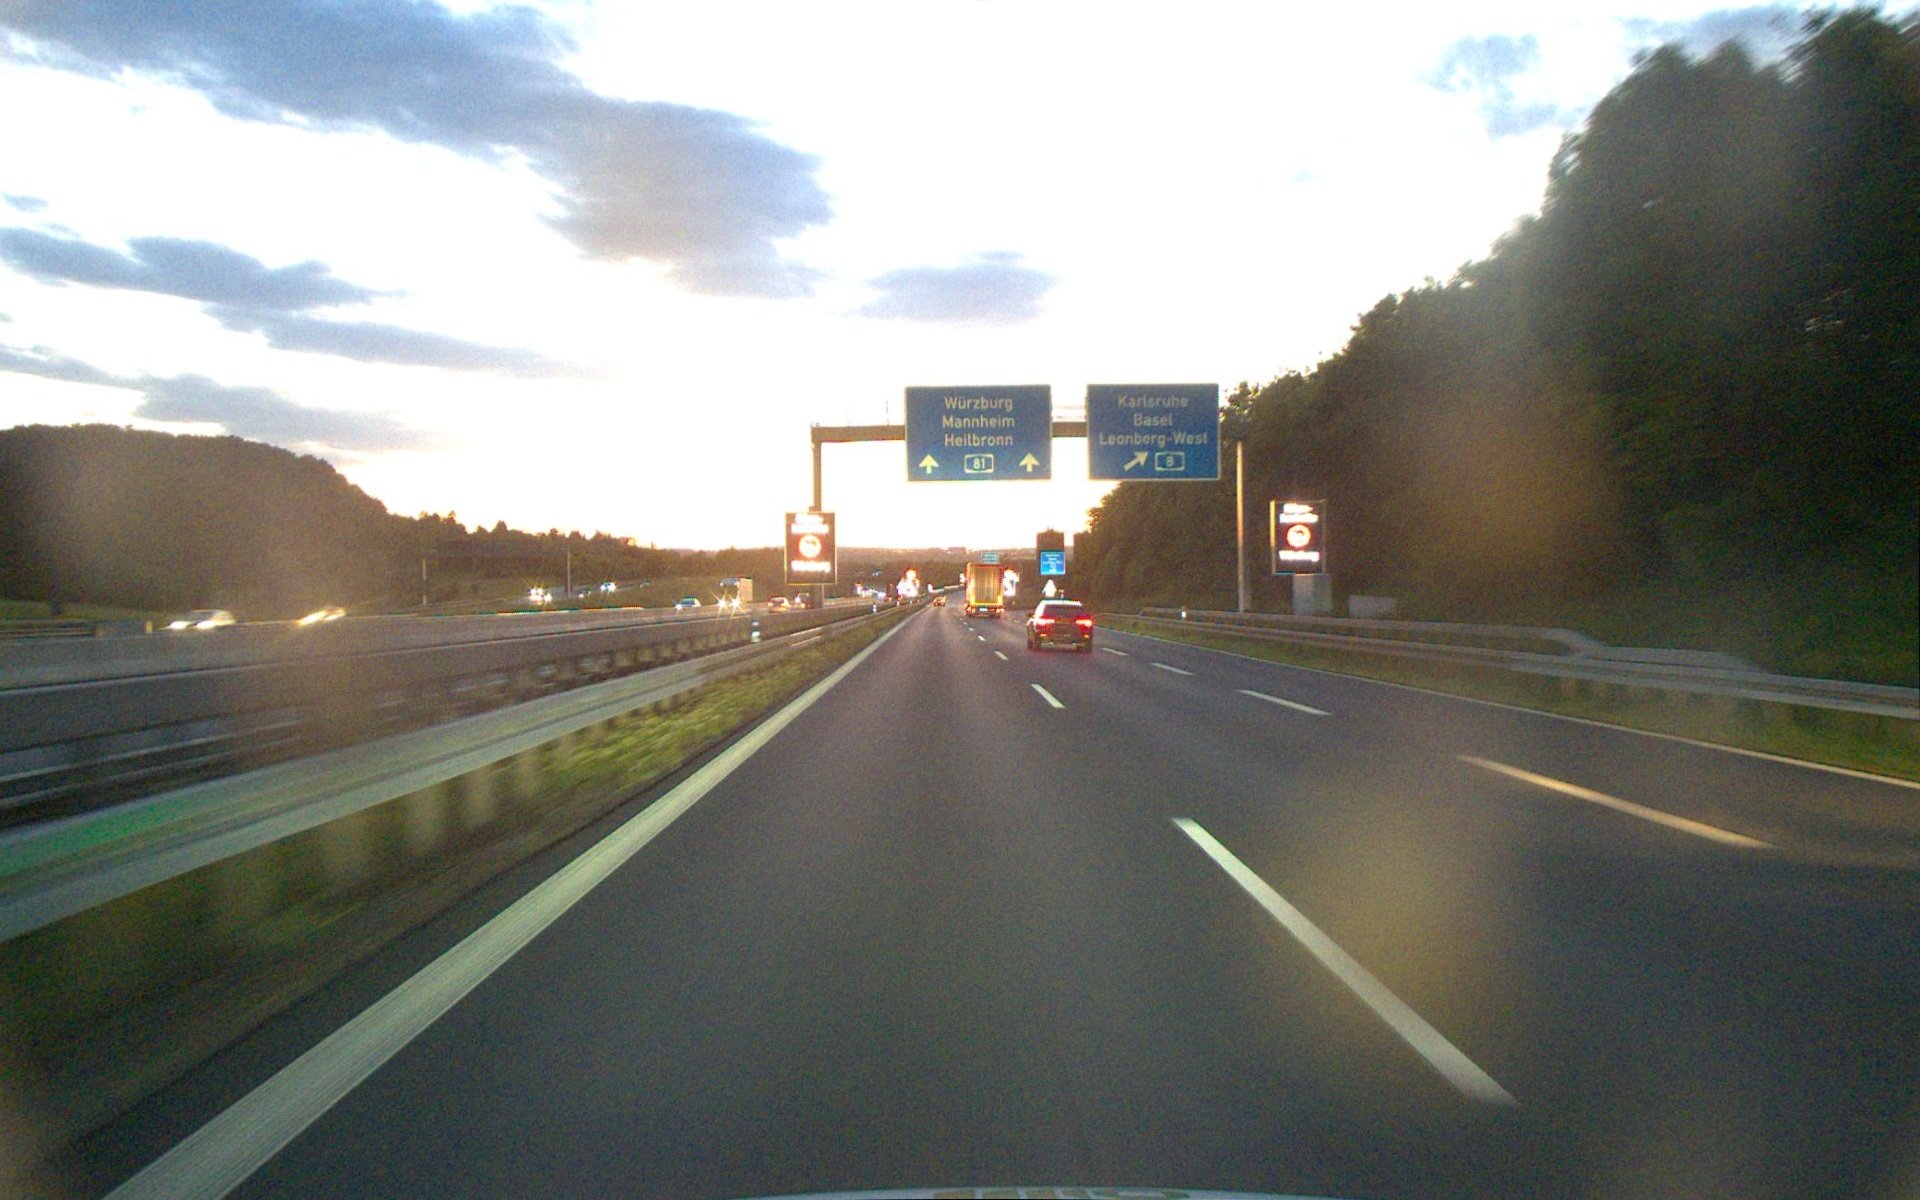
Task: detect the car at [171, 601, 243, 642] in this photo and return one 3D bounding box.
[{"bbox_3d":[-39.443,1.084,86.715,1.955,2.049,4.728,-1,0,-5],"label":"car"}]

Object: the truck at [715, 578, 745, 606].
[{"bbox_3d":[-30.703,-1.010,220.865,3.243,3.682,5.496,-1,0,-1],"label":"truck"}]

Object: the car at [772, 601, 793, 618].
[{"bbox_3d":[-16.545,0.895,154.171,1.604,1.573,3.394,-1,0,-1],"label":"car"}]

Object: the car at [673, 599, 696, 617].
[{"bbox_3d":[-27.024,0.735,162.124,1.648,1.736,3.751,0,0,-1],"label":"car"}]

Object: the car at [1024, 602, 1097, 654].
[{"bbox_3d":[2.960,0.803,49.655,1.876,1.467,3.999,-1,0,-1],"label":"car"}]

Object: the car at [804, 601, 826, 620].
[{"bbox_3d":[-12.626,0.929,144.093,1.678,1.634,3.721,-1,0,-1],"label":"car"}]

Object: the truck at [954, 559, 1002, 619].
[{"bbox_3d":[1.328,-0.805,128.865,3.438,4.376,9.888,-1,0,-1],"label":"truck"}]
